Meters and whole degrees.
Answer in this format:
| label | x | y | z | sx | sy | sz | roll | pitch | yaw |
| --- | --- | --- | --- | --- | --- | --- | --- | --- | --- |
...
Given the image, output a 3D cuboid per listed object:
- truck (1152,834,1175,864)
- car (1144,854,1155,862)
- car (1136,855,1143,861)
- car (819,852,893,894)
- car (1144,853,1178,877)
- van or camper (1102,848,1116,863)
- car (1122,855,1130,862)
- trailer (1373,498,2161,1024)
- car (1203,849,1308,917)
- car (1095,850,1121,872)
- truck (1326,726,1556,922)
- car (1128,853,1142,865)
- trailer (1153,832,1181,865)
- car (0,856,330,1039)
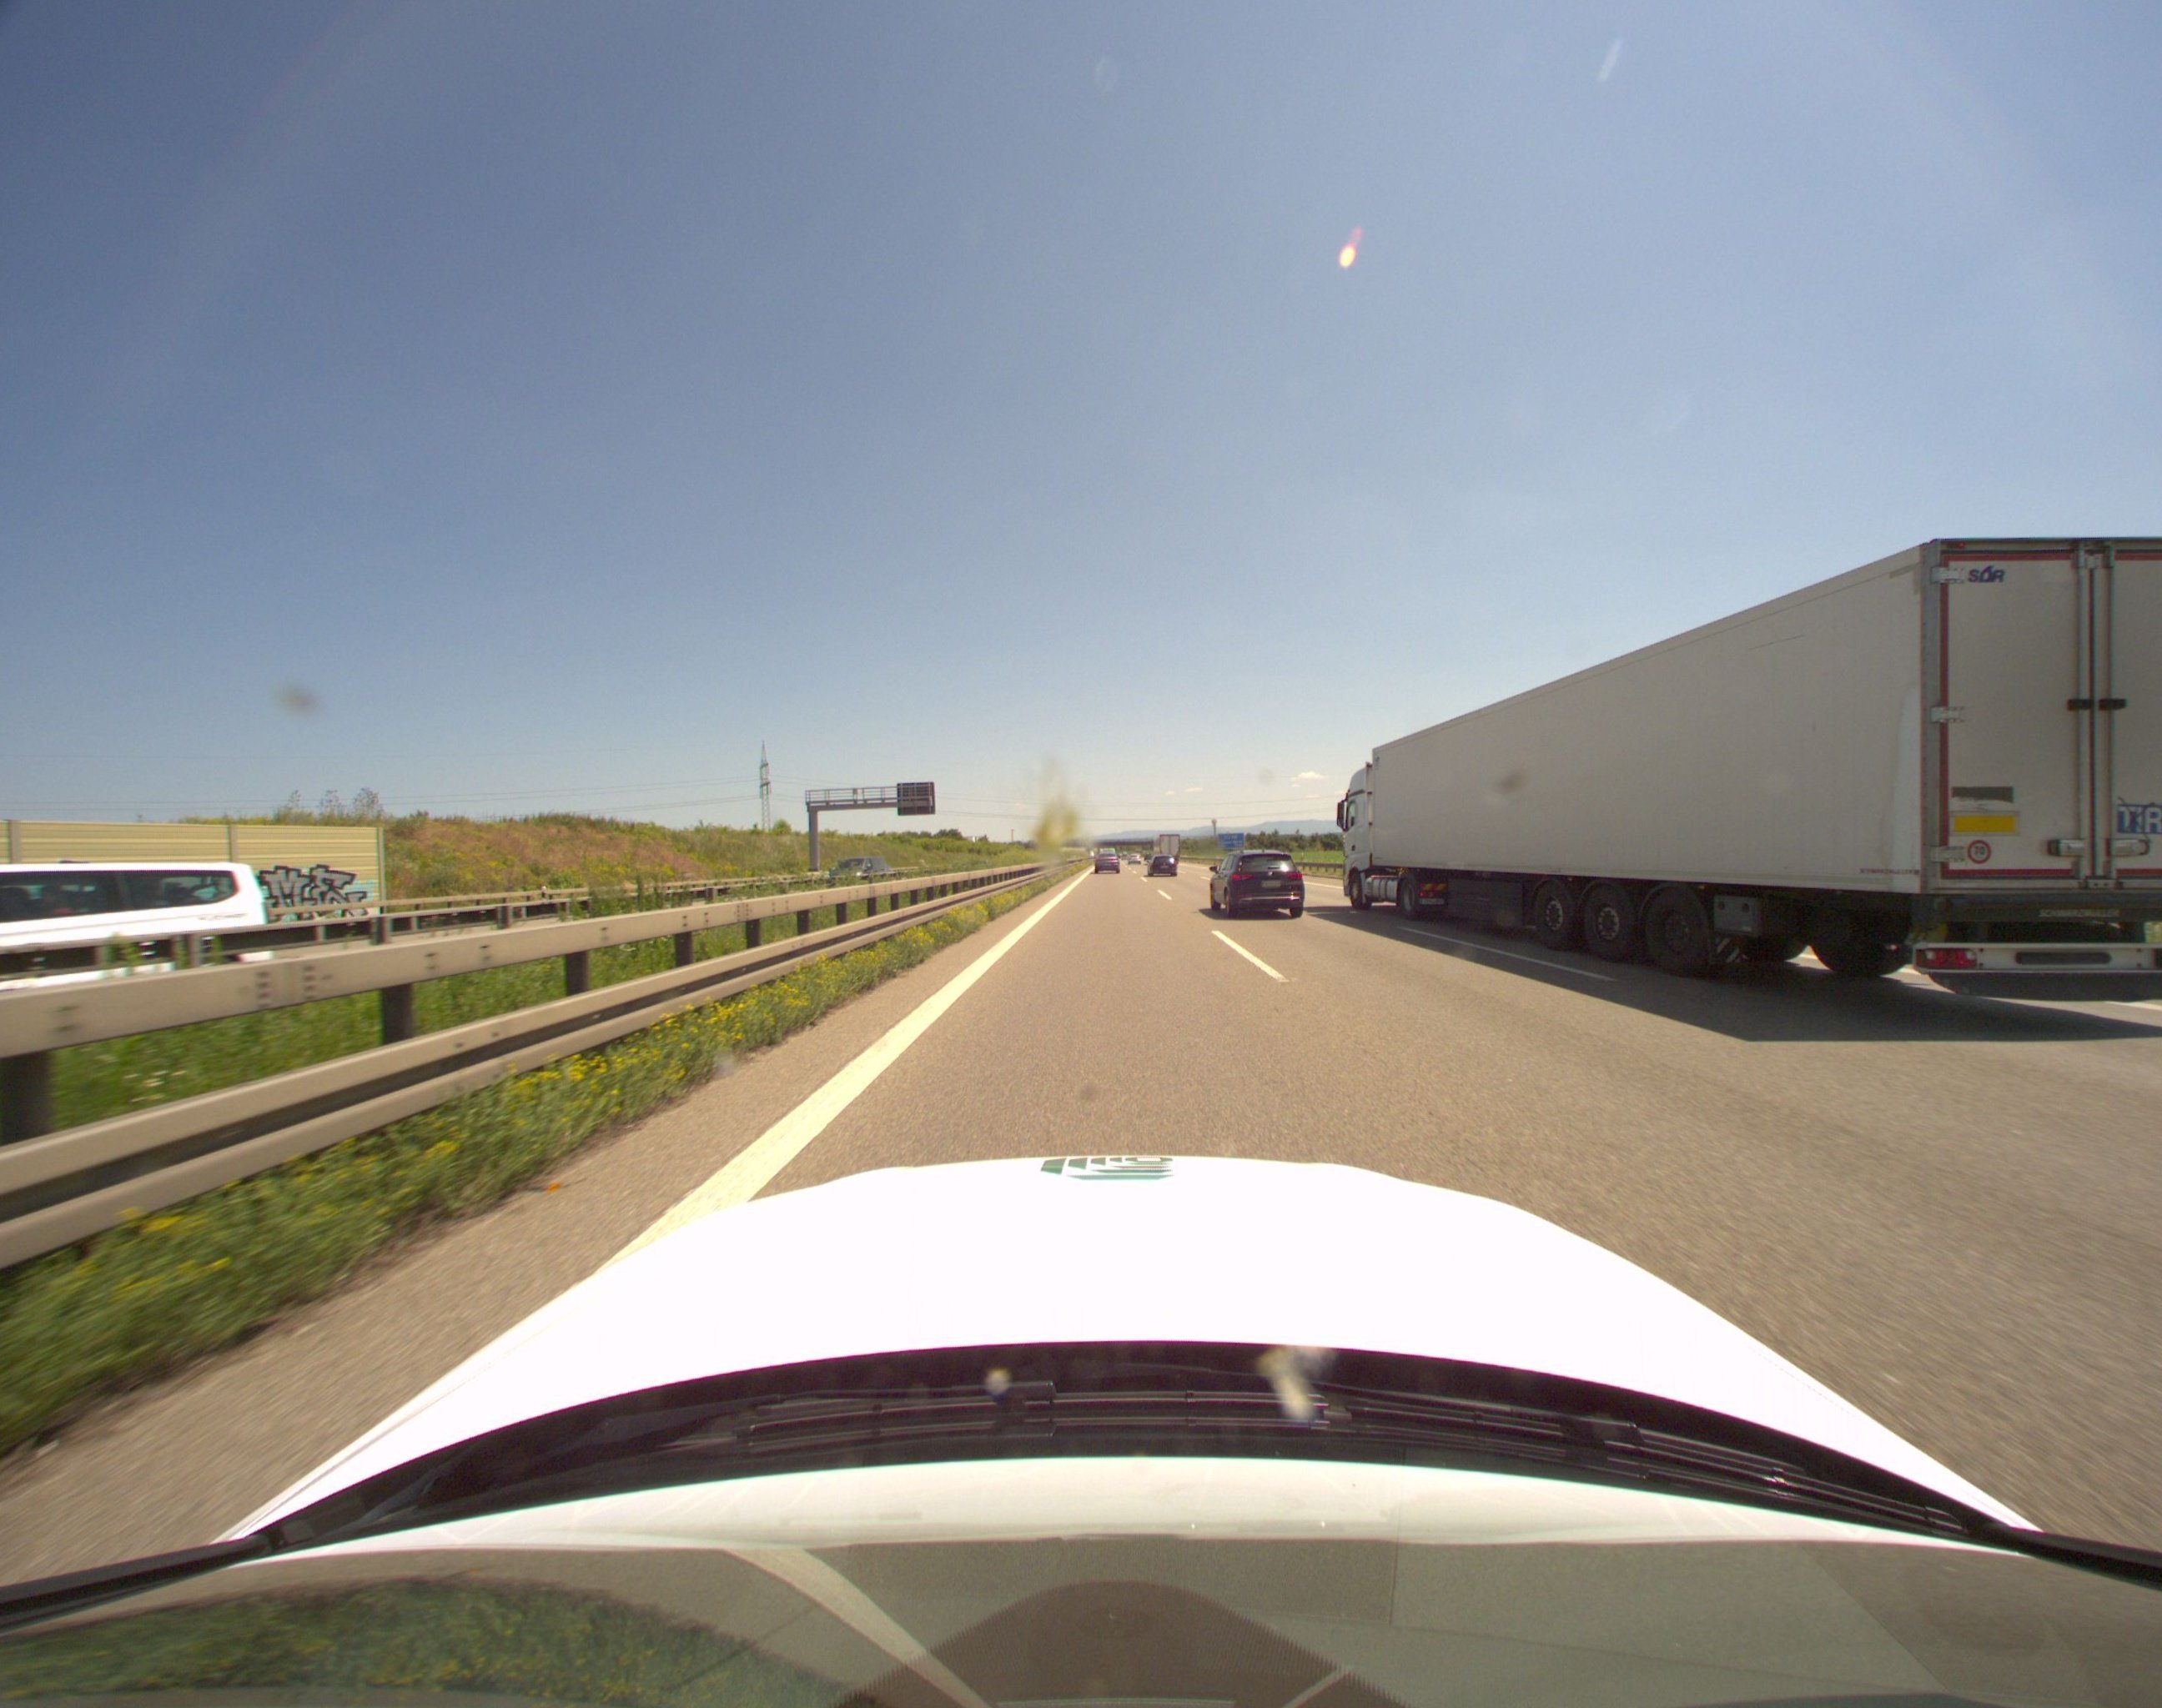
| label | x | y | z | sx | sy | sz | roll | pitch | yaw |
| --- | --- | --- | --- | --- | --- | --- | --- | --- | --- |
| truck | 11.845 | -0.679 | 117.404 | 2.967 | 4.228 | 7.691 | 0 | 0 | 2 |
| car | 14.265 | 0.791 | 169.866 | 1.986 | 1.683 | 4.002 | 0 | 0 | 2 |
| car | 16.888 | 1.034 | 235.155 | 1.986 | 1.683 | 4.002 | 0 | 0 | 2 |
| car | -11.746 | 0.939 | 42.984 | 1.986 | 1.940 | 5.857 | -4 | -1 | 2 |
| car | 5.374 | 0.738 | 55.191 | 1.926 | 1.574 | 4.936 | 0 | 0 | 2 |
| van or camper | 4.214 | 0.299 | 123.048 | 2.102 | 2.211 | 5.268 | 0 | 0 | 2 |
| car | 11.209 | 1.042 | 204.356 | 1.986 | 1.683 | 4.002 | 0 | 0 | 2 |
| trailer | 8.343 | -0.708 | 13.176 | 2.857 | 4.220 | 13.299 | 0 | 0 | 2 |
| car | 4.290 | 0.672 | 20.590 | 1.791 | 1.562 | 3.822 | 0 | 0 | -1 |
| car | 2.114 | 0.532 | 64.296 | 1.846 | 1.664 | 3.733 | 0 | 0 | -1 |
| truck | 8.541 | -0.611 | 20.442 | 2.852 | 4.091 | 6.880 | 0 | 0 | 1 |
| car | 7.759 | 0.705 | 117.644 | 1.986 | 1.683 | 4.002 | 0 | 0 | 2 |
| trailer | 11.549 | -0.701 | 110.789 | 2.931 | 4.198 | 13.604 | 0 | 0 | 2 |
| car | -12.525 | 1.002 | 9.461 | 1.986 | 1.962 | 5.915 | 0 | 0 | 2 |
